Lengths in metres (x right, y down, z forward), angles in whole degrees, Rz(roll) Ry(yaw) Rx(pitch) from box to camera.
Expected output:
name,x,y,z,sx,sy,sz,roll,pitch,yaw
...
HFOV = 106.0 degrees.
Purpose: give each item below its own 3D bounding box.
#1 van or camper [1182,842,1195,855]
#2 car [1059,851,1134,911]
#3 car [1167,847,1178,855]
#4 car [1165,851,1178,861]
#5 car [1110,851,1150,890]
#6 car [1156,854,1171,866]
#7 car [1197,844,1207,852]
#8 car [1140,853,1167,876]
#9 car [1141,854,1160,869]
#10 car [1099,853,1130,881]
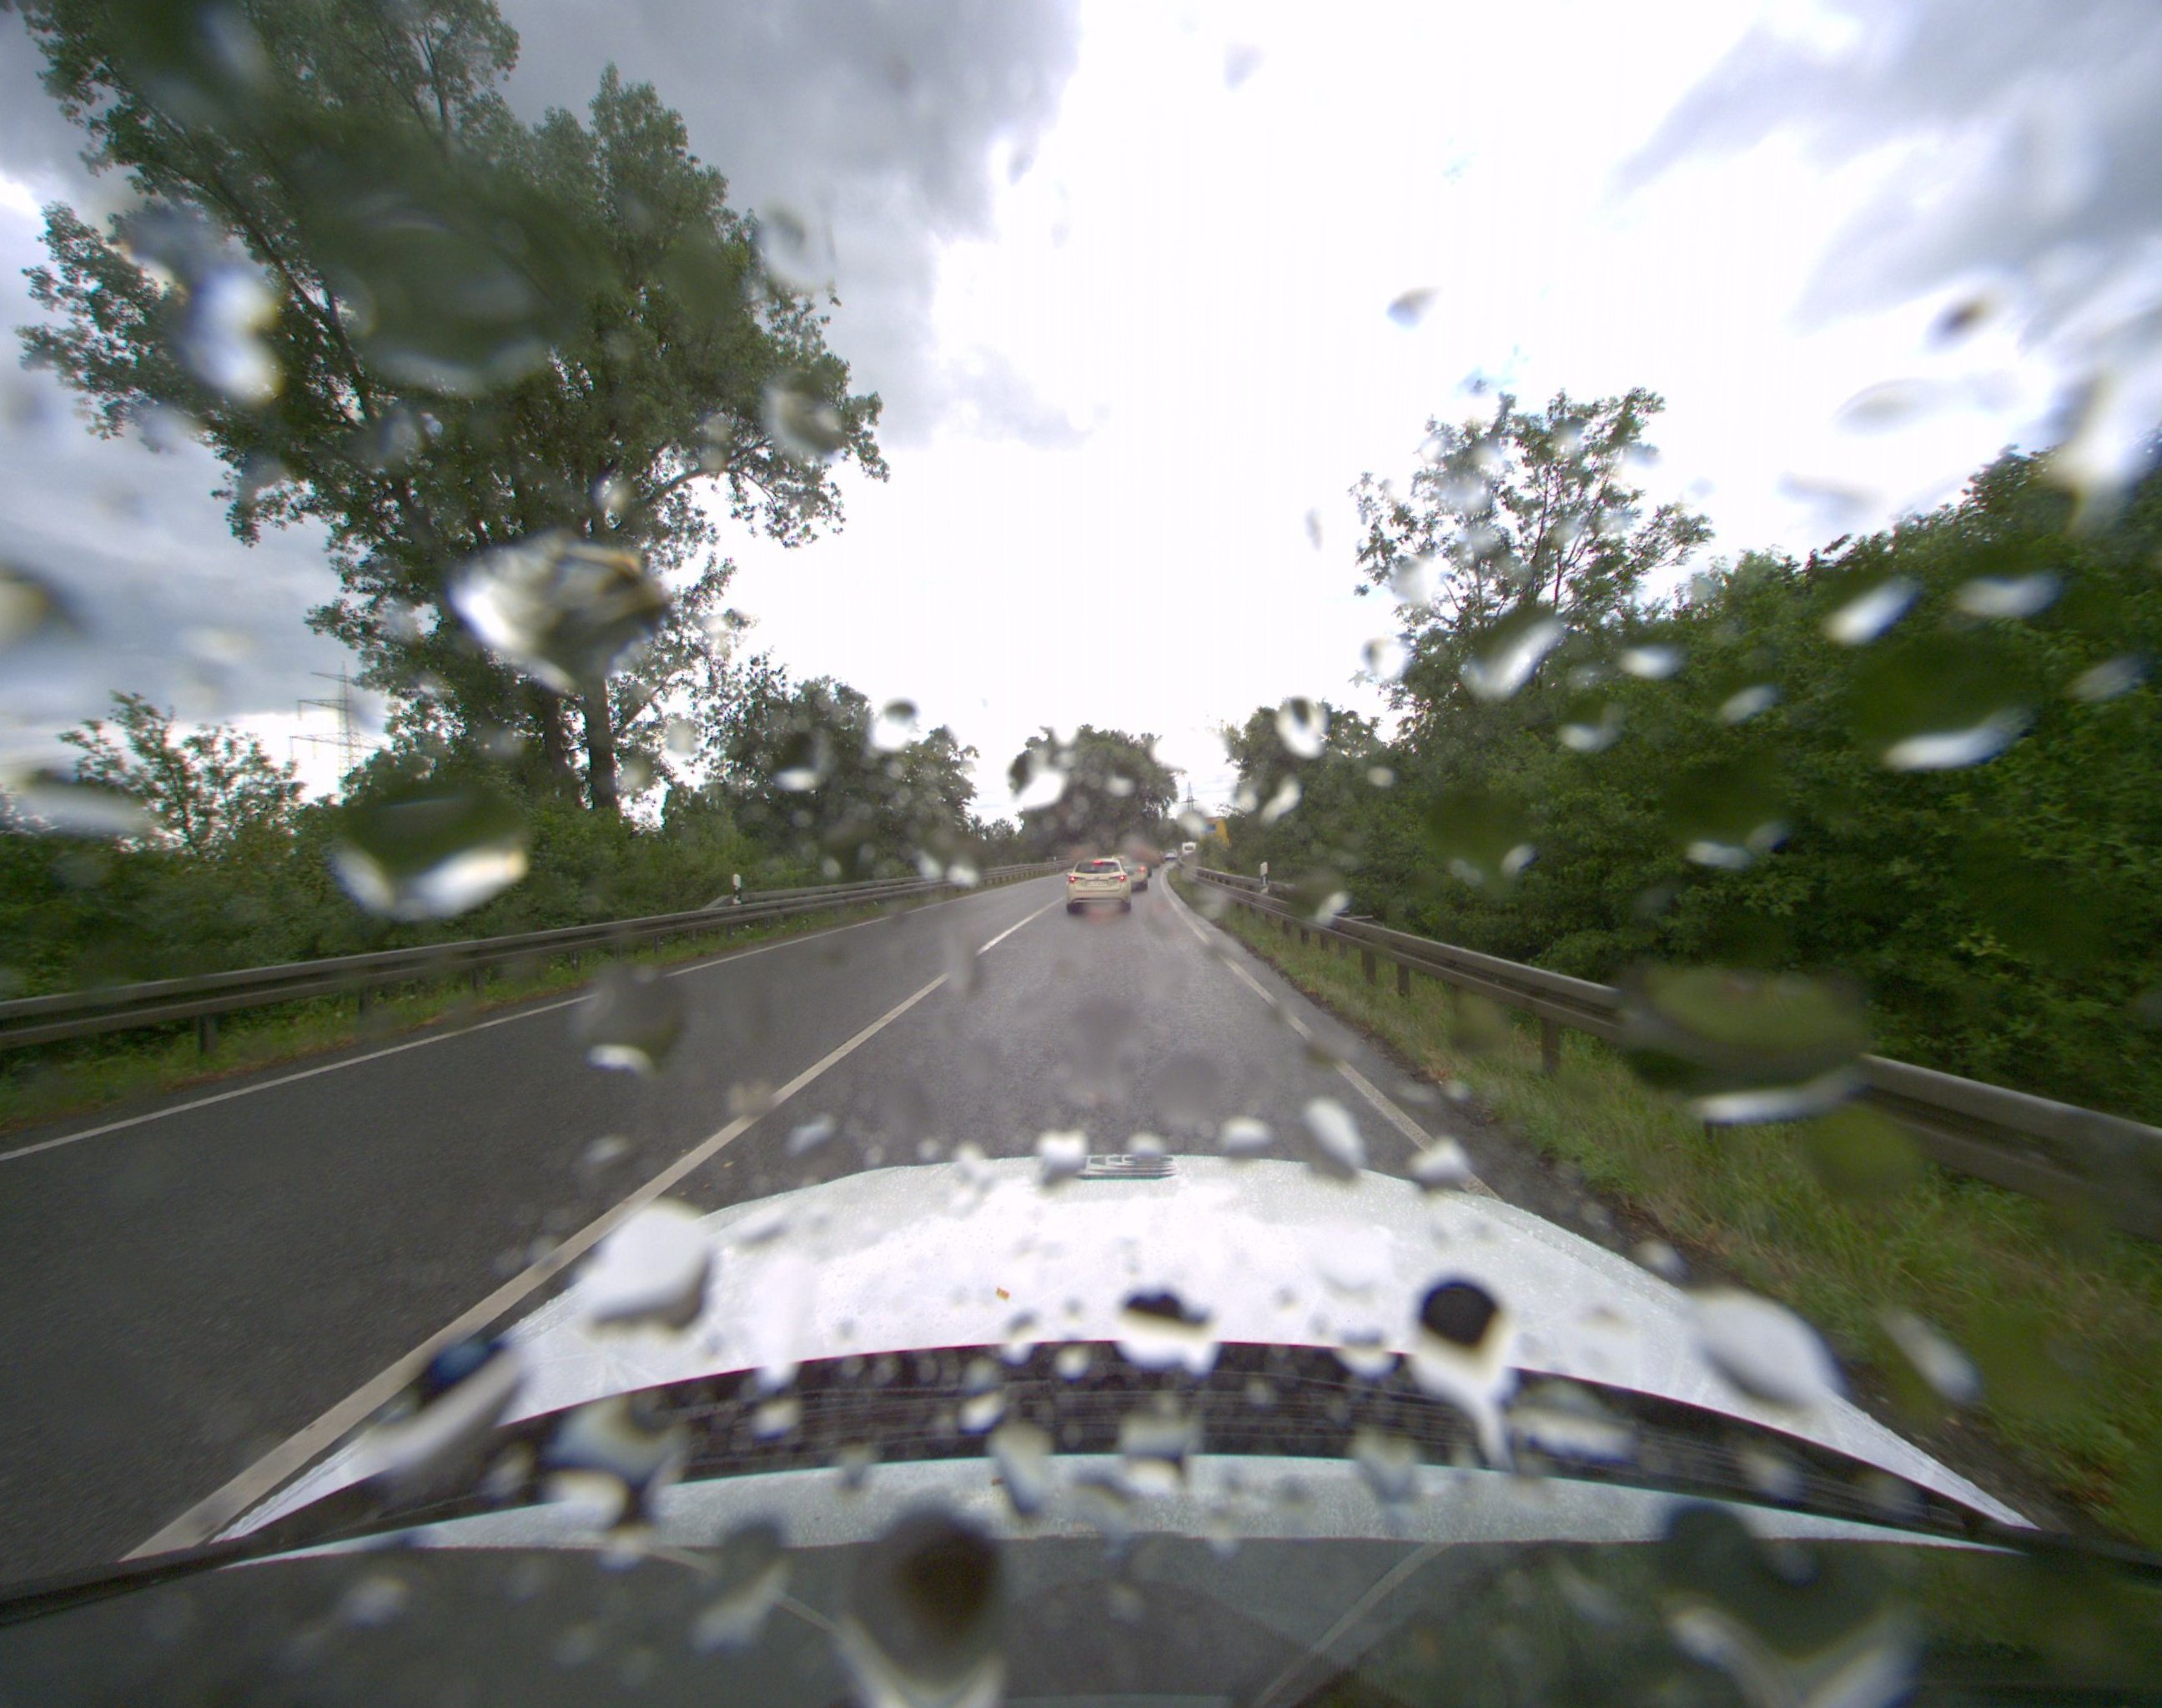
name,x,y,z,sx,sy,sz,roll,pitch,yaw
van or camper,18.609,-0.896,140.728,1.981,2.254,4.011,-1,-1,10
car,0.533,0.720,23.410,1.897,1.537,4.166,-1,0,4
car,13.650,-0.460,121.017,1.364,1.201,3.327,-1,0,11
car,12.388,0.242,111.424,1.474,1.309,3.486,-1,0,9
car,2.147,0.669,35.132,1.570,1.572,3.687,-1,0,5
car,9.552,0.706,94.550,1.474,1.309,3.486,-1,0,9
car,24.027,-1.125,161.803,1.635,1.585,3.697,-1,0,14
car,4.686,0.655,52.851,1.658,1.464,3.480,-1,0,3
car,6.519,0.707,76.395,1.652,1.409,3.911,-1,-1,6
car,1.843,0.696,44.268,1.499,1.437,3.360,-1,0,5
